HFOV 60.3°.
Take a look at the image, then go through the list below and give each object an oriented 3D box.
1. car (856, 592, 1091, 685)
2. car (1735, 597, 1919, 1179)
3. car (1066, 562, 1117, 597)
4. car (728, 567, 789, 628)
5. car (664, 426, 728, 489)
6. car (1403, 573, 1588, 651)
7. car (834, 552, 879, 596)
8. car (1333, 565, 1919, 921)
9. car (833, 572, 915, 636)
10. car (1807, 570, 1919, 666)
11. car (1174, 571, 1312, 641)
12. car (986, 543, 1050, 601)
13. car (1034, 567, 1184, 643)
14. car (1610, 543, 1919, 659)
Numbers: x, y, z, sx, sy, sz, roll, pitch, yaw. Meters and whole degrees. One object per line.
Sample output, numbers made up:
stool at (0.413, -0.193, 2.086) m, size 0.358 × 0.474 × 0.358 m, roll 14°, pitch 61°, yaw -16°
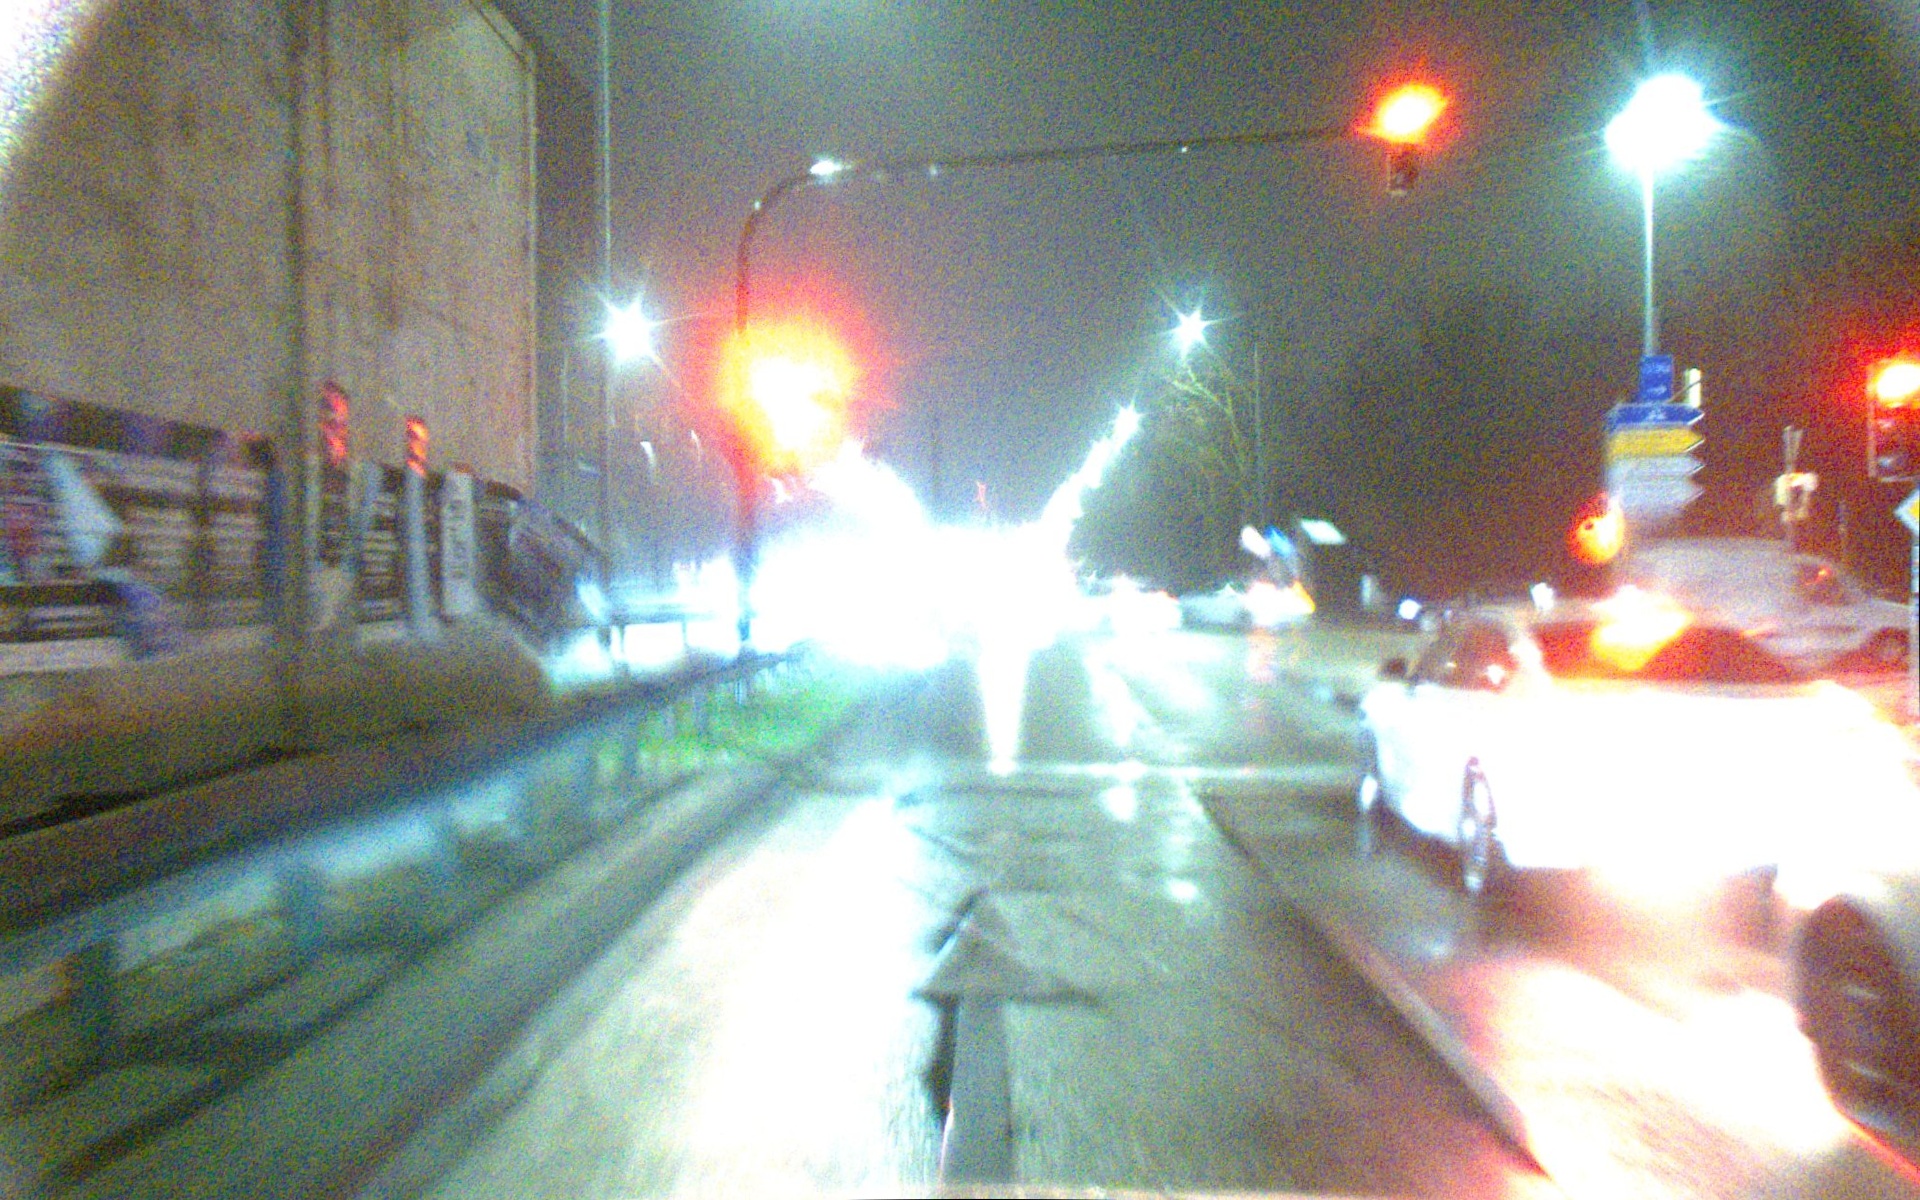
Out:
car at (0.229, 0.698, 32.065) m, size 4.341 × 1.678 × 1.829 m, roll 0°, pitch 0°, yaw 37°
car at (3.245, 0.733, 3.137) m, size 1.684 × 1.472 × 4.163 m, roll 0°, pitch 0°, yaw 1°
car at (6.218, -0.938, 78.453) m, size 2.048 × 1.572 × 4.306 m, roll 0°, pitch 0°, yaw 0°
car at (-6.139, -0.077, 50.190) m, size 1.686 × 1.764 × 3.756 m, roll 0°, pitch 0°, yaw -9°
car at (-8.832, -4.757, 55.568) m, size 1.915 × 1.702 × 4.411 m, roll 0°, pitch 0°, yaw -7°
car at (13.100, 0.275, 40.458) m, size 4.204 × 1.816 × 2.045 m, roll 0°, pitch 0°, yaw 21°
car at (-4.951, -1.218, 79.609) m, size 1.663 × 2.049 × 3.570 m, roll 0°, pitch 0°, yaw 4°
car at (3.380, 0.598, 9.198) m, size 1.684 × 1.472 × 4.383 m, roll -1°, pitch 0°, yaw 1°
car at (-2.485, 0.102, 46.674) m, size 1.801 × 1.700 × 4.453 m, roll 0°, pitch 0°, yaw -10°
car at (17.551, 0.324, 29.244) m, size 4.274 × 1.651 × 1.838 m, roll 0°, pitch 0°, yaw 14°
car at (8.612, 0.170, 50.594) m, size 2.015 × 2.049 × 4.268 m, roll 1°, pitch 0°, yaw -28°
car at (2.287, -1.090, 66.520) m, size 2.391 × 2.232 × 5.078 m, roll 0°, pitch 0°, yaw 0°
car at (4.177, 0.134, 46.974) m, size 2.021 × 2.049 × 4.254 m, roll 1°, pitch 0°, yaw -35°
car at (13.283, 0.008, 26.947) m, size 4.719 × 1.800 × 1.838 m, roll 0°, pitch 0°, yaw 10°
